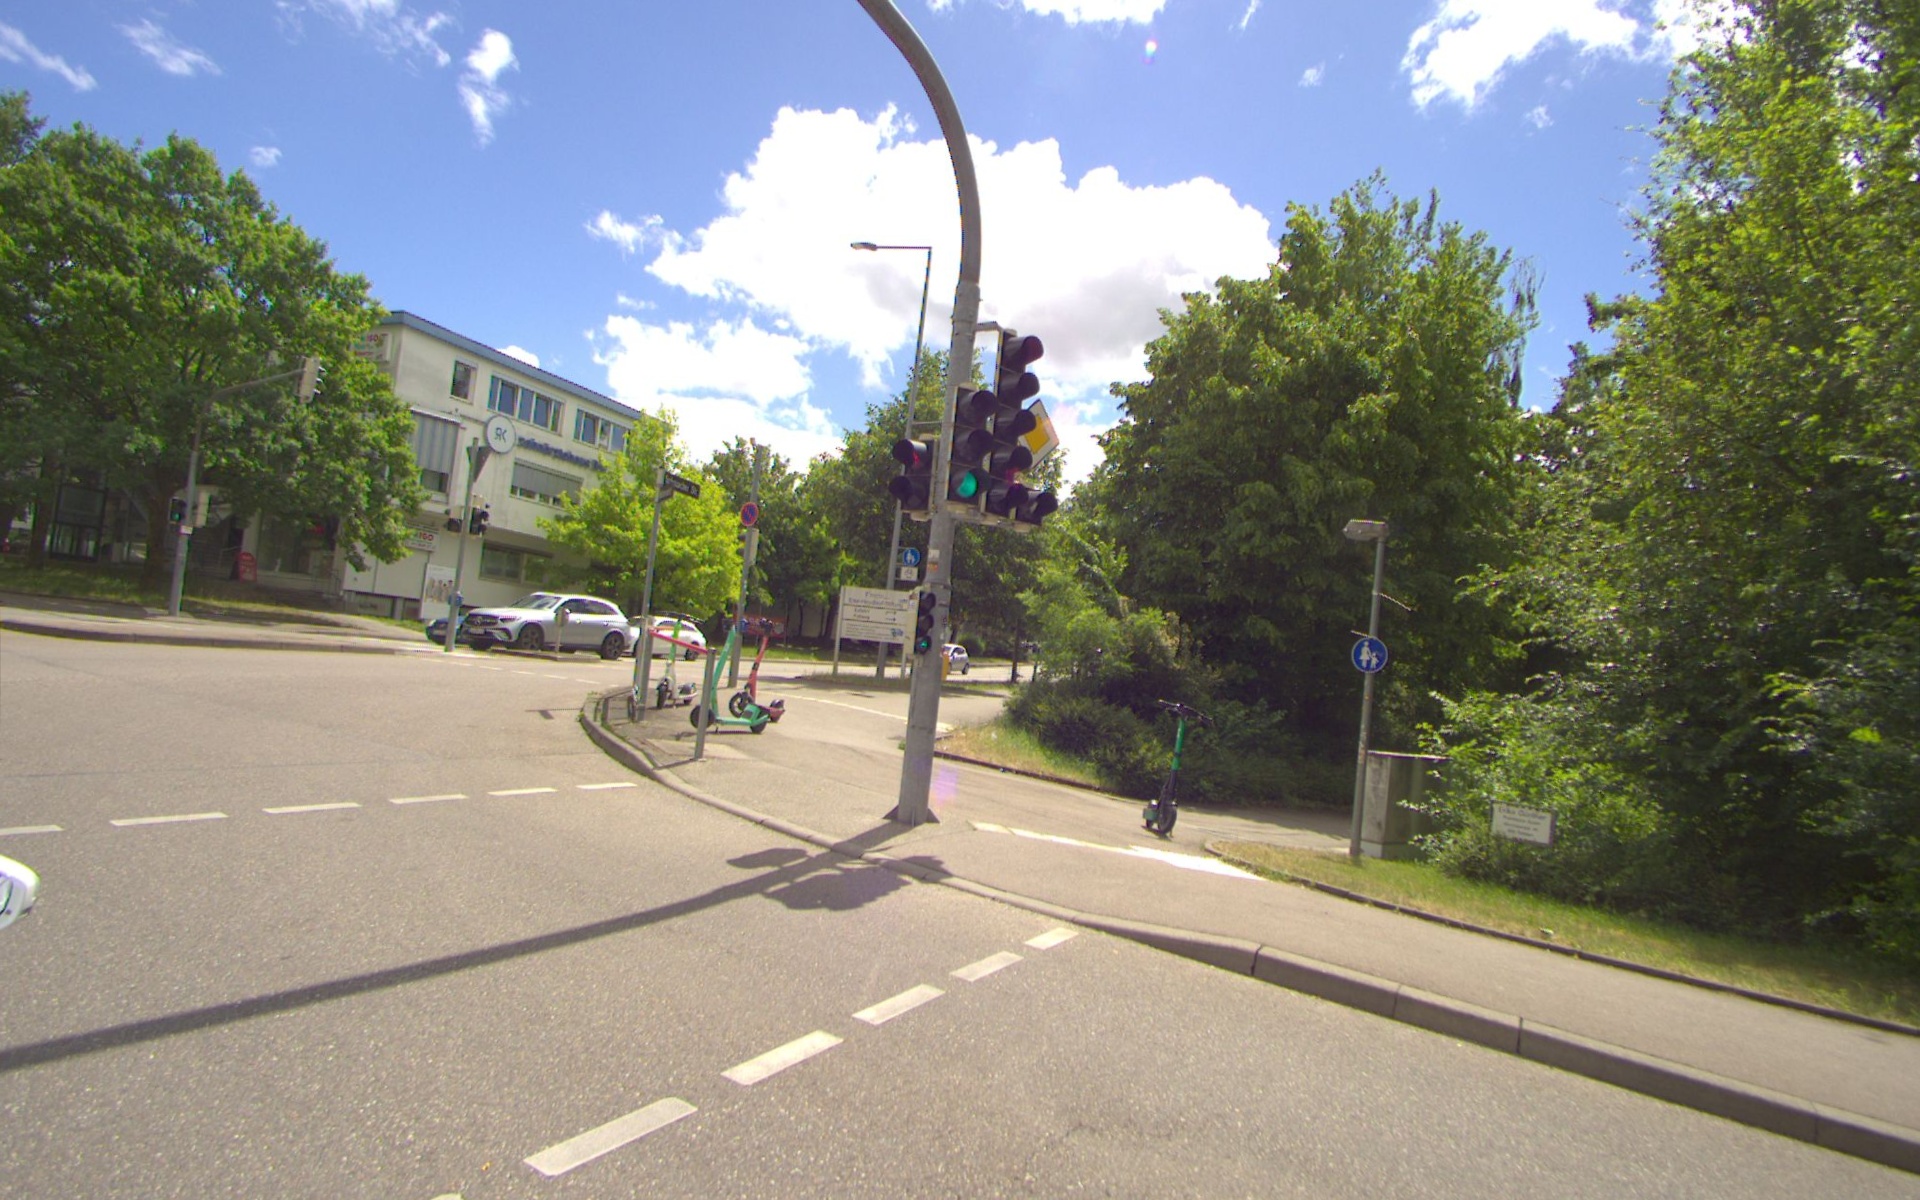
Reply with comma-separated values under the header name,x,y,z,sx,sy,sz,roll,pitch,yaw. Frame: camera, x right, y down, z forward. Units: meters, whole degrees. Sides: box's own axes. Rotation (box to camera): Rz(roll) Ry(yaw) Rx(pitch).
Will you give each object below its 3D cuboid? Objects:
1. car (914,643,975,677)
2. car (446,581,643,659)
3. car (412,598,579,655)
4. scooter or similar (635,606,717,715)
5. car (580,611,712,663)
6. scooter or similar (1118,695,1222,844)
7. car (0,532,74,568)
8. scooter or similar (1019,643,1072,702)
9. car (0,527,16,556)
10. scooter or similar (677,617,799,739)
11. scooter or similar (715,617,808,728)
name,x,y,z,sx,sy,sz,roll,pitch,yaw
car,-0.721,2.974,49.622,1.579,1.428,3.901,3,-3,22
car,-10.660,0.600,26.250,1.889,1.609,4.658,3,-4,24
car,-13.039,0.792,28.503,1.879,1.239,3.973,3,-4,24
scooter or similar,-3.513,0.745,12.528,0.470,1.249,1.212,7,-2,4
car,-10.703,1.321,34.606,1.916,1.430,4.407,3,-4,22
scooter or similar,2.076,1.655,10.094,0.526,1.305,1.213,11,-5,-2
car,-50.803,-2.774,55.364,3.931,1.487,1.748,6,-2,29
scooter or similar,1.907,1.616,22.330,0.515,1.196,1.173,6,-2,35
car,-52.496,-3.319,53.874,3.934,1.460,1.747,6,-2,31
scooter or similar,-2.383,0.860,10.896,0.442,1.209,1.169,6,-2,35
scooter or similar,-2.431,0.898,12.430,0.471,1.249,1.186,6,-2,19
